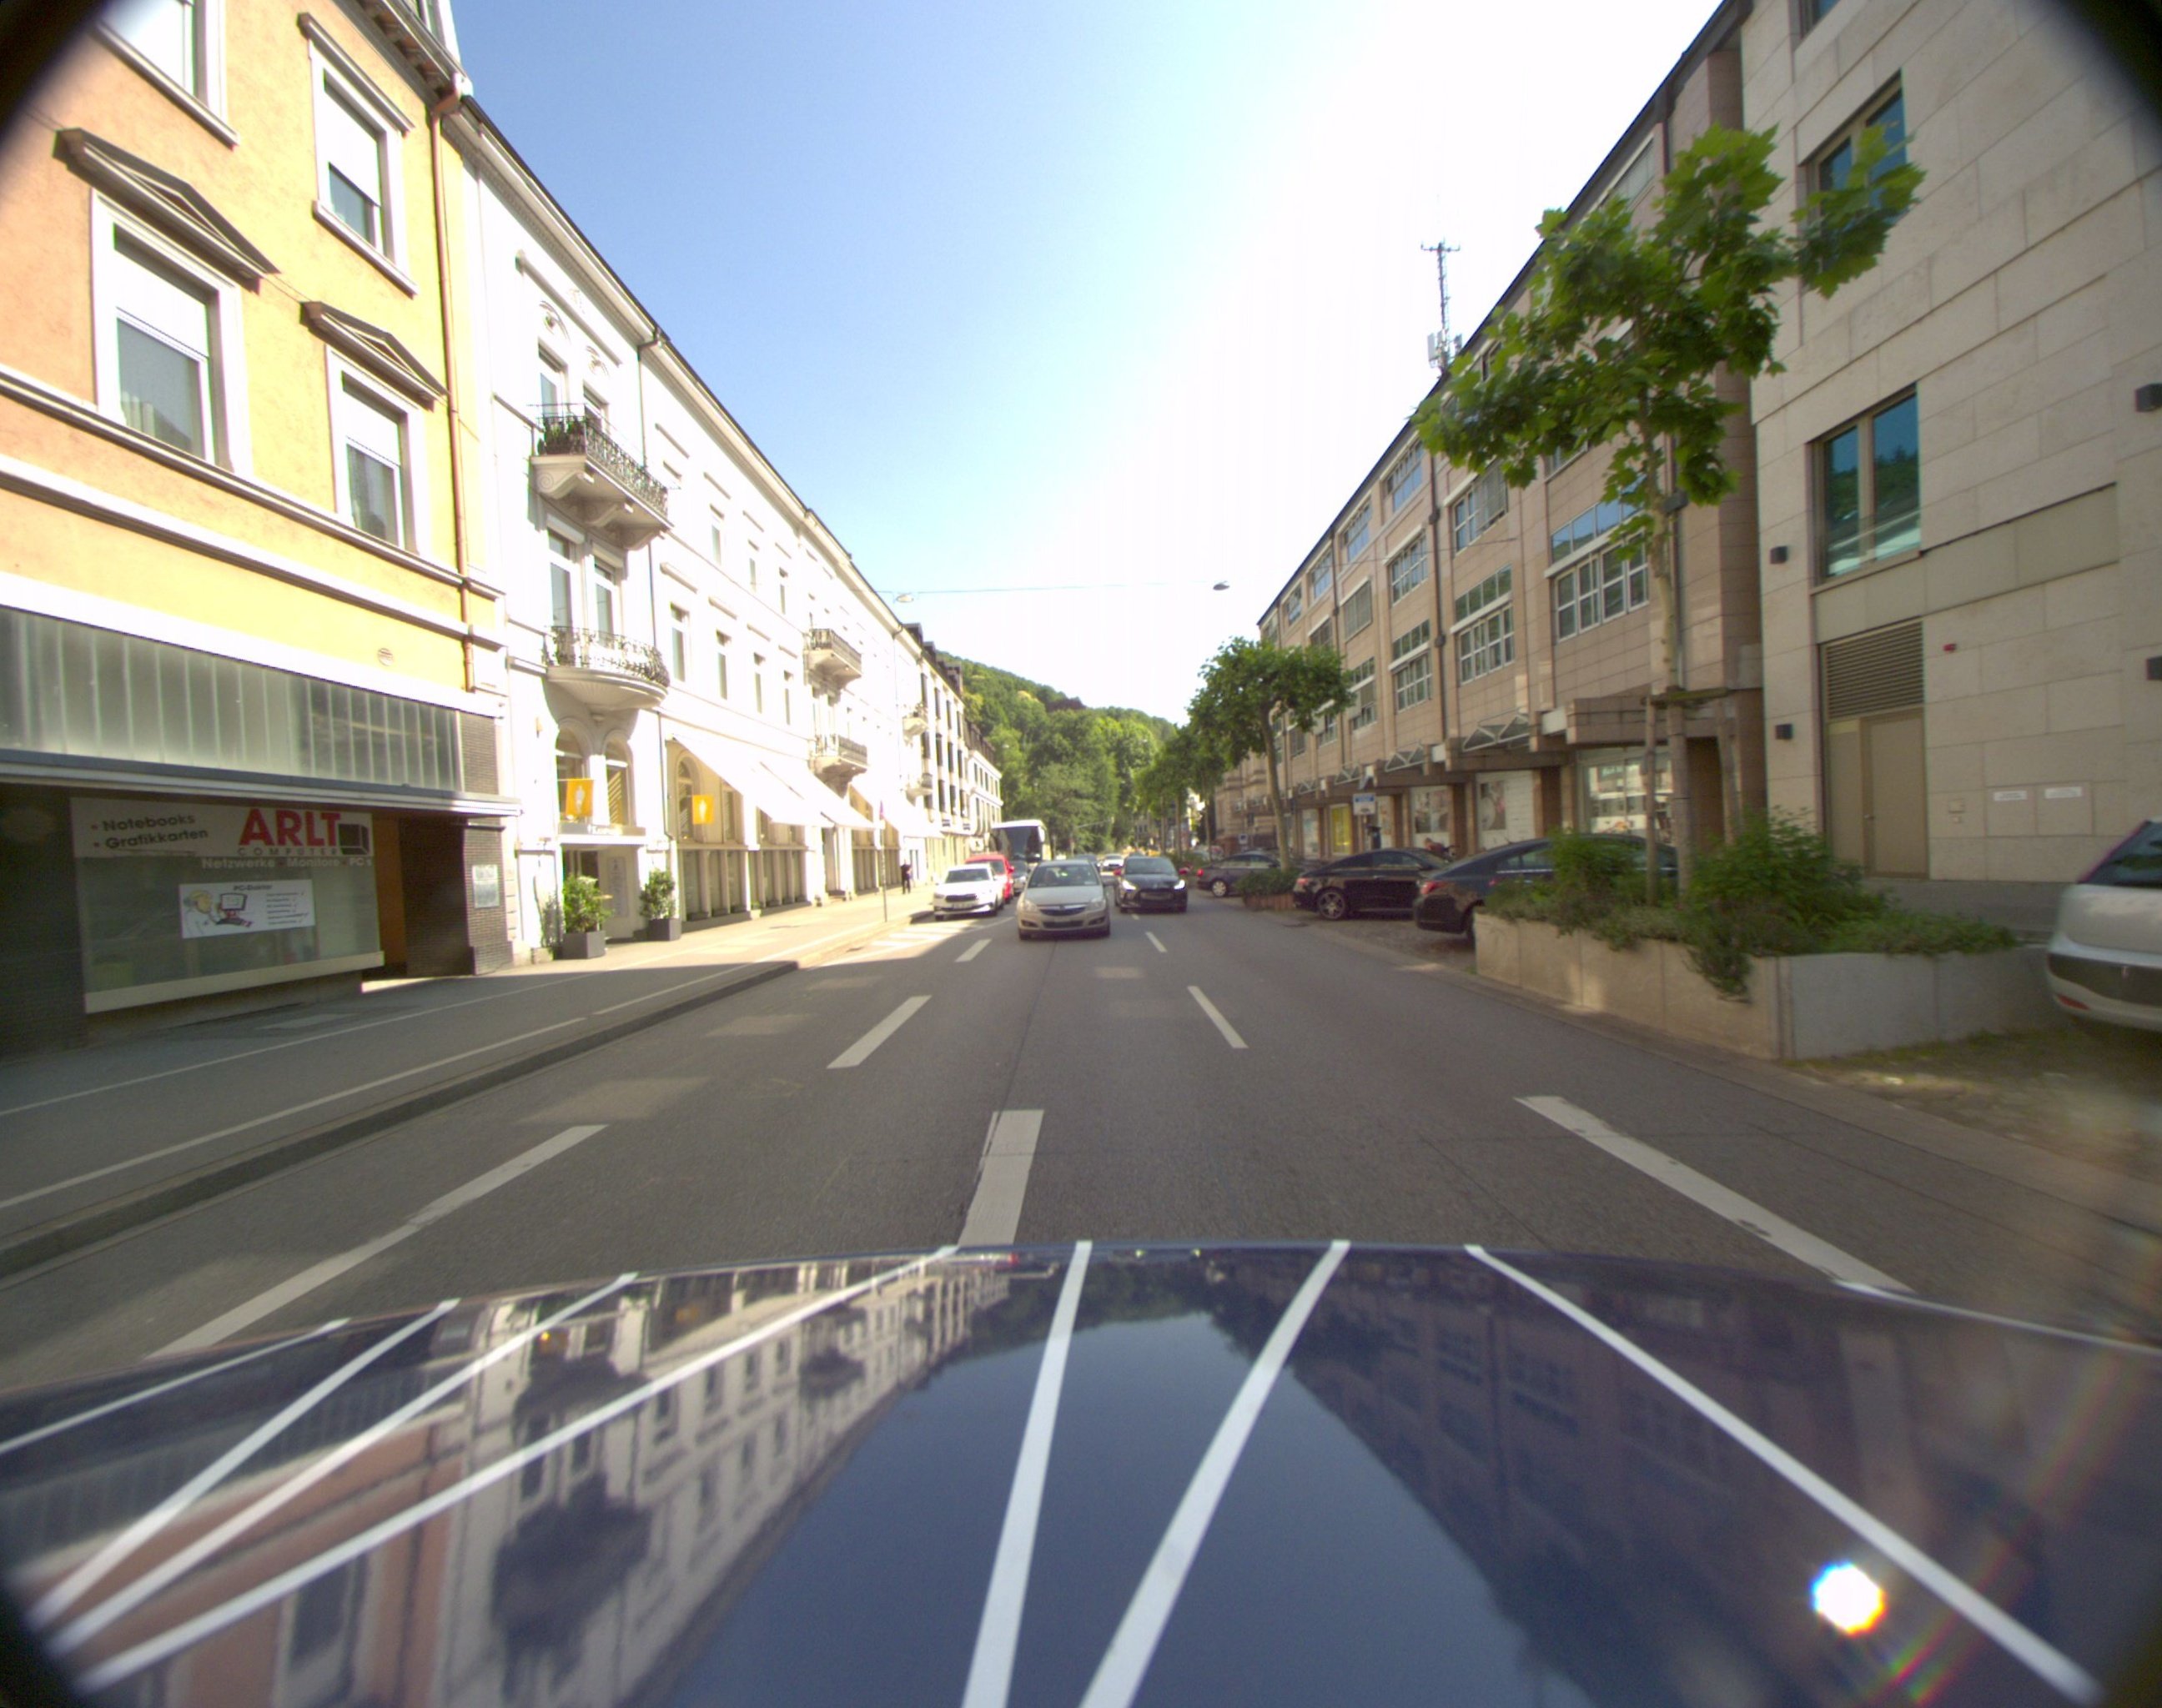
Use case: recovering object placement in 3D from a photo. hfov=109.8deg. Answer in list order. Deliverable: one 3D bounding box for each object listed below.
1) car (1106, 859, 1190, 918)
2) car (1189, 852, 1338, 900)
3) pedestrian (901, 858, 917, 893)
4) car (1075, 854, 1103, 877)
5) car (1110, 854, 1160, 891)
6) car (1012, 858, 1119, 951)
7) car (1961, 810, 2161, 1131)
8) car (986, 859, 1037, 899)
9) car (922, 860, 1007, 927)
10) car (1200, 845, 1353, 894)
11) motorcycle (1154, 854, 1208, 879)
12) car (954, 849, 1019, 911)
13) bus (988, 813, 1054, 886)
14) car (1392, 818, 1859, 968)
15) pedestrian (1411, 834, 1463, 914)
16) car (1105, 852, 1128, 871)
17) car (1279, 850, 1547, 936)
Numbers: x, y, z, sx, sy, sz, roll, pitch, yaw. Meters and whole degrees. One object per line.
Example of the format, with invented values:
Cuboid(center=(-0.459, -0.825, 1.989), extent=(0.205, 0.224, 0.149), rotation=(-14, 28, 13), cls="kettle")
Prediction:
Cuboid(center=(1.740, 0.891, 20.923), extent=(1.868, 1.469, 4.106), rotation=(0, -1, -1), cls="car")
Cuboid(center=(5.997, 0.725, 25.247), extent=(4.392, 1.438, 1.890), rotation=(-2, -1, 40), cls="car")
Cuboid(center=(-8.221, 1.021, 36.384), extent=(0.482, 1.659, 0.868), rotation=(-2, 1, 1), cls="pedestrian")
Cuboid(center=(0.512, 0.778, 50.976), extent=(1.775, 1.469, 4.107), rotation=(-1, -1, 1), cls="car")
Cuboid(center=(2.298, 0.765, 33.216), extent=(1.734, 1.389, 4.105), rotation=(-4, 1, -2), cls="car")
Cuboid(center=(-0.316, 0.894, 15.411), extent=(1.791, 1.484, 4.367), rotation=(-3, 0, -1), cls="car")
Cuboid(center=(7.370, 0.440, 3.704), extent=(3.997, 1.519, 1.819), rotation=(-6, 2, 0), cls="car")
Cuboid(center=(-2.930, 1.033, 32.872), extent=(1.868, 1.479, 4.414), rotation=(-3, 0, -1), cls="car")
Cuboid(center=(-3.263, 1.052, 22.148), extent=(1.799, 1.516, 4.262), rotation=(-5, 1, -1), cls="car")
Cuboid(center=(7.108, 0.590, 27.976), extent=(5.120, 1.623, 1.847), rotation=(-2, 0, 40), cls="car")
Cuboid(center=(5.565, 0.716, 42.500), extent=(0.980, 1.342, 3.095), rotation=(-3, 1, -42), cls="motorcycle")
Cuboid(center=(-3.357, 0.916, 27.861), extent=(1.703, 1.900, 4.607), rotation=(-7, -1, -1), cls="car")
Cuboid(center=(-3.174, -0.279, 43.750), extent=(2.924, 3.516, 12.497), rotation=(-2, 1, -1), cls="bus")
Cuboid(center=(6.736, 0.554, 10.017), extent=(4.521, 1.496, 1.795), rotation=(-7, -1, 31), cls="car")
Cuboid(center=(8.620, 0.472, 18.412), extent=(0.840, 1.868, 0.844), rotation=(-2, 1, 1), cls="pedestrian")
Cuboid(center=(2.877, 0.594, 62.856), extent=(1.733, 1.389, 4.106), rotation=(-3, 0, 1), cls="car")
Cuboid(center=(6.524, 0.723, 15.345), extent=(4.609, 1.438, 1.736), rotation=(-2, 0, 45), cls="car")
